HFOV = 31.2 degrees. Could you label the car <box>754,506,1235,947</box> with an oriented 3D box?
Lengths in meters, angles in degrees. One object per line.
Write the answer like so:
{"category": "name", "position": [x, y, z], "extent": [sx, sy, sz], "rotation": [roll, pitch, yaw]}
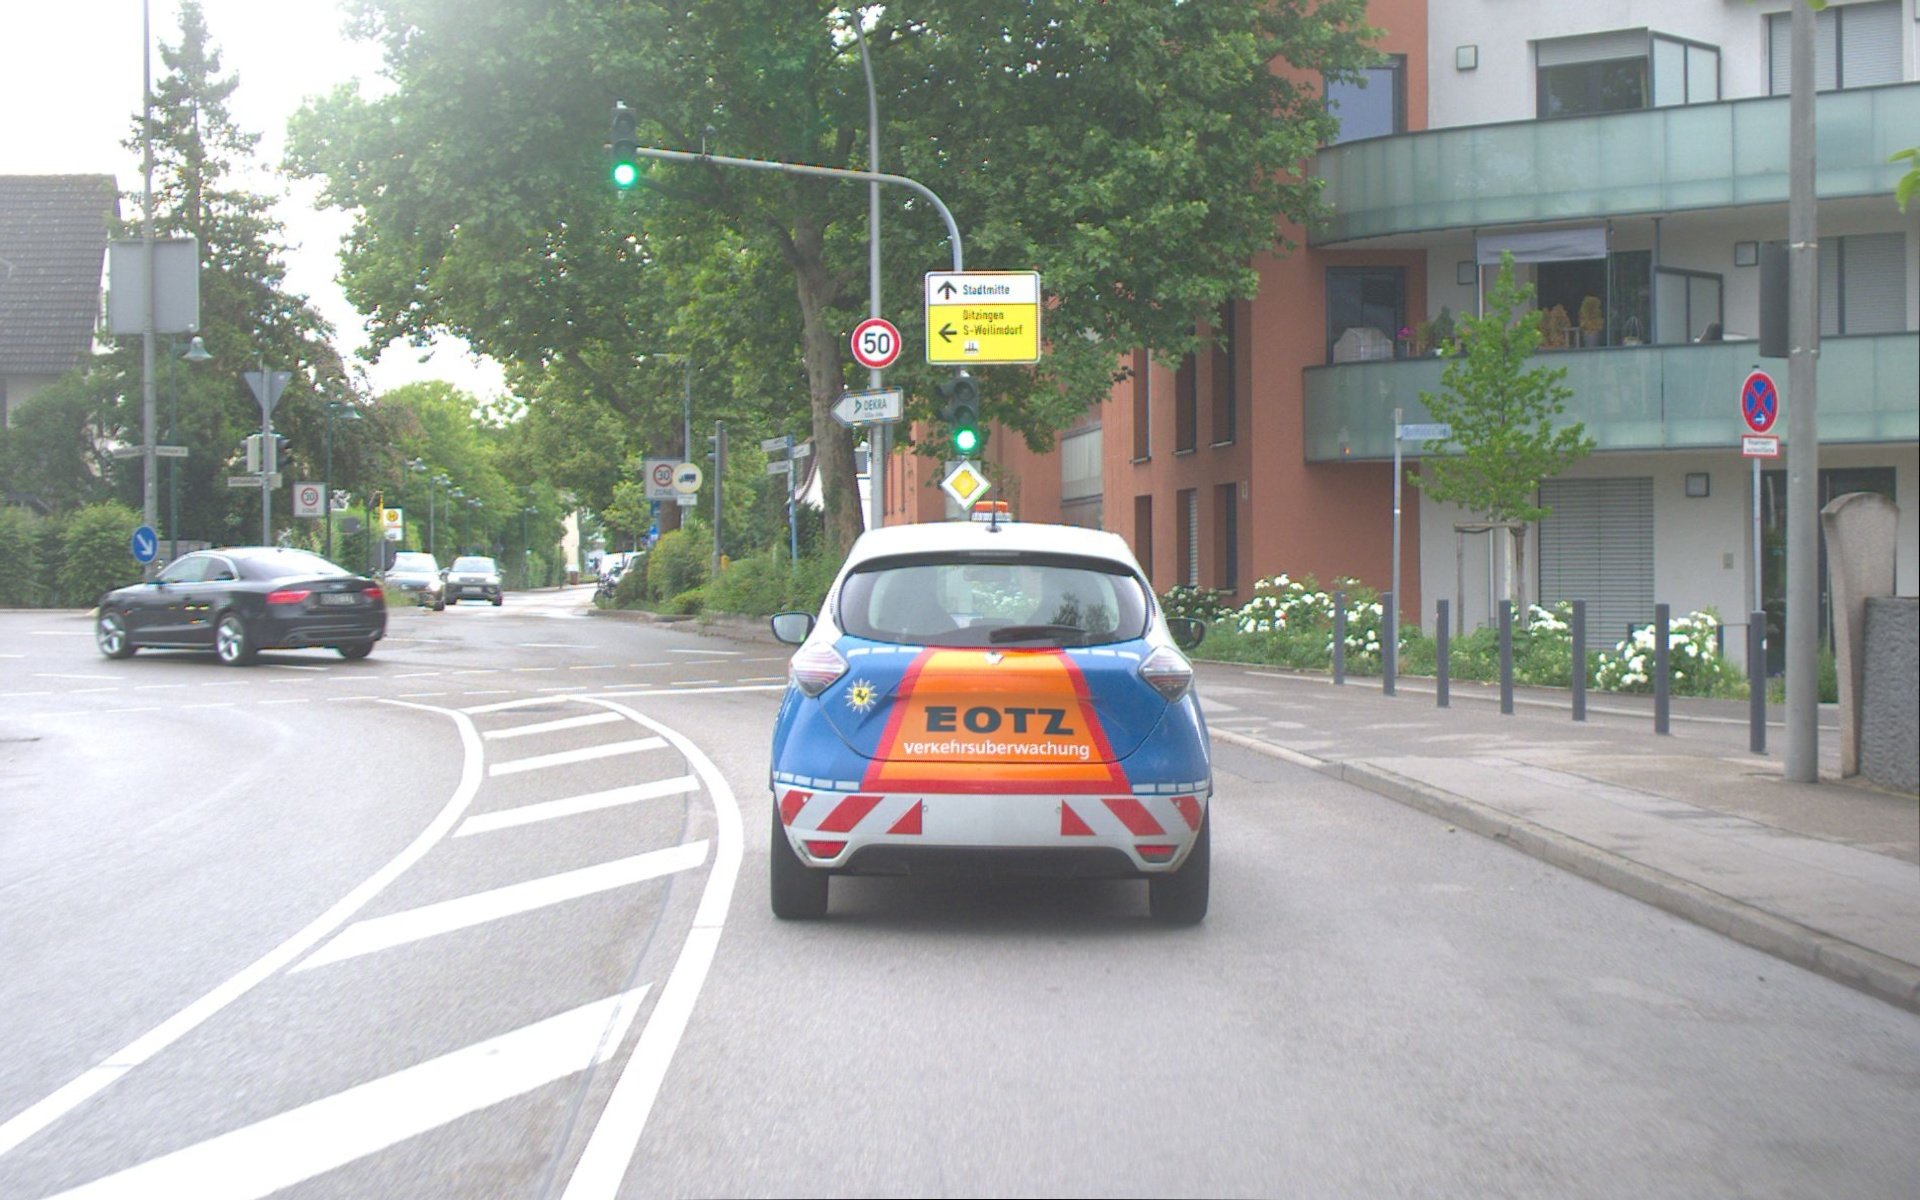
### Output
{"category": "car", "position": [0.058, 0.410, 14.611], "extent": [1.745, 1.575, 4.001], "rotation": [-1, 2, -2]}

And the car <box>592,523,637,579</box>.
{"category": "car", "position": [-12.847, -1.844, 127.630], "extent": [1.643, 2.010, 3.716], "rotation": [0, 2, -6]}

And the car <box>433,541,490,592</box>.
{"category": "car", "position": [-17.036, -1.156, 117.428], "extent": [1.877, 1.663, 3.715], "rotation": [0, 1, -8]}

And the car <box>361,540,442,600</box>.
{"category": "car", "position": [-14.138, -0.761, 87.091], "extent": [1.941, 1.447, 4.301], "rotation": [1, 0, -9]}

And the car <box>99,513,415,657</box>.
{"category": "car", "position": [-8.529, -0.220, 41.521], "extent": [1.994, 1.568, 3.998], "rotation": [-1, 3, -42]}
